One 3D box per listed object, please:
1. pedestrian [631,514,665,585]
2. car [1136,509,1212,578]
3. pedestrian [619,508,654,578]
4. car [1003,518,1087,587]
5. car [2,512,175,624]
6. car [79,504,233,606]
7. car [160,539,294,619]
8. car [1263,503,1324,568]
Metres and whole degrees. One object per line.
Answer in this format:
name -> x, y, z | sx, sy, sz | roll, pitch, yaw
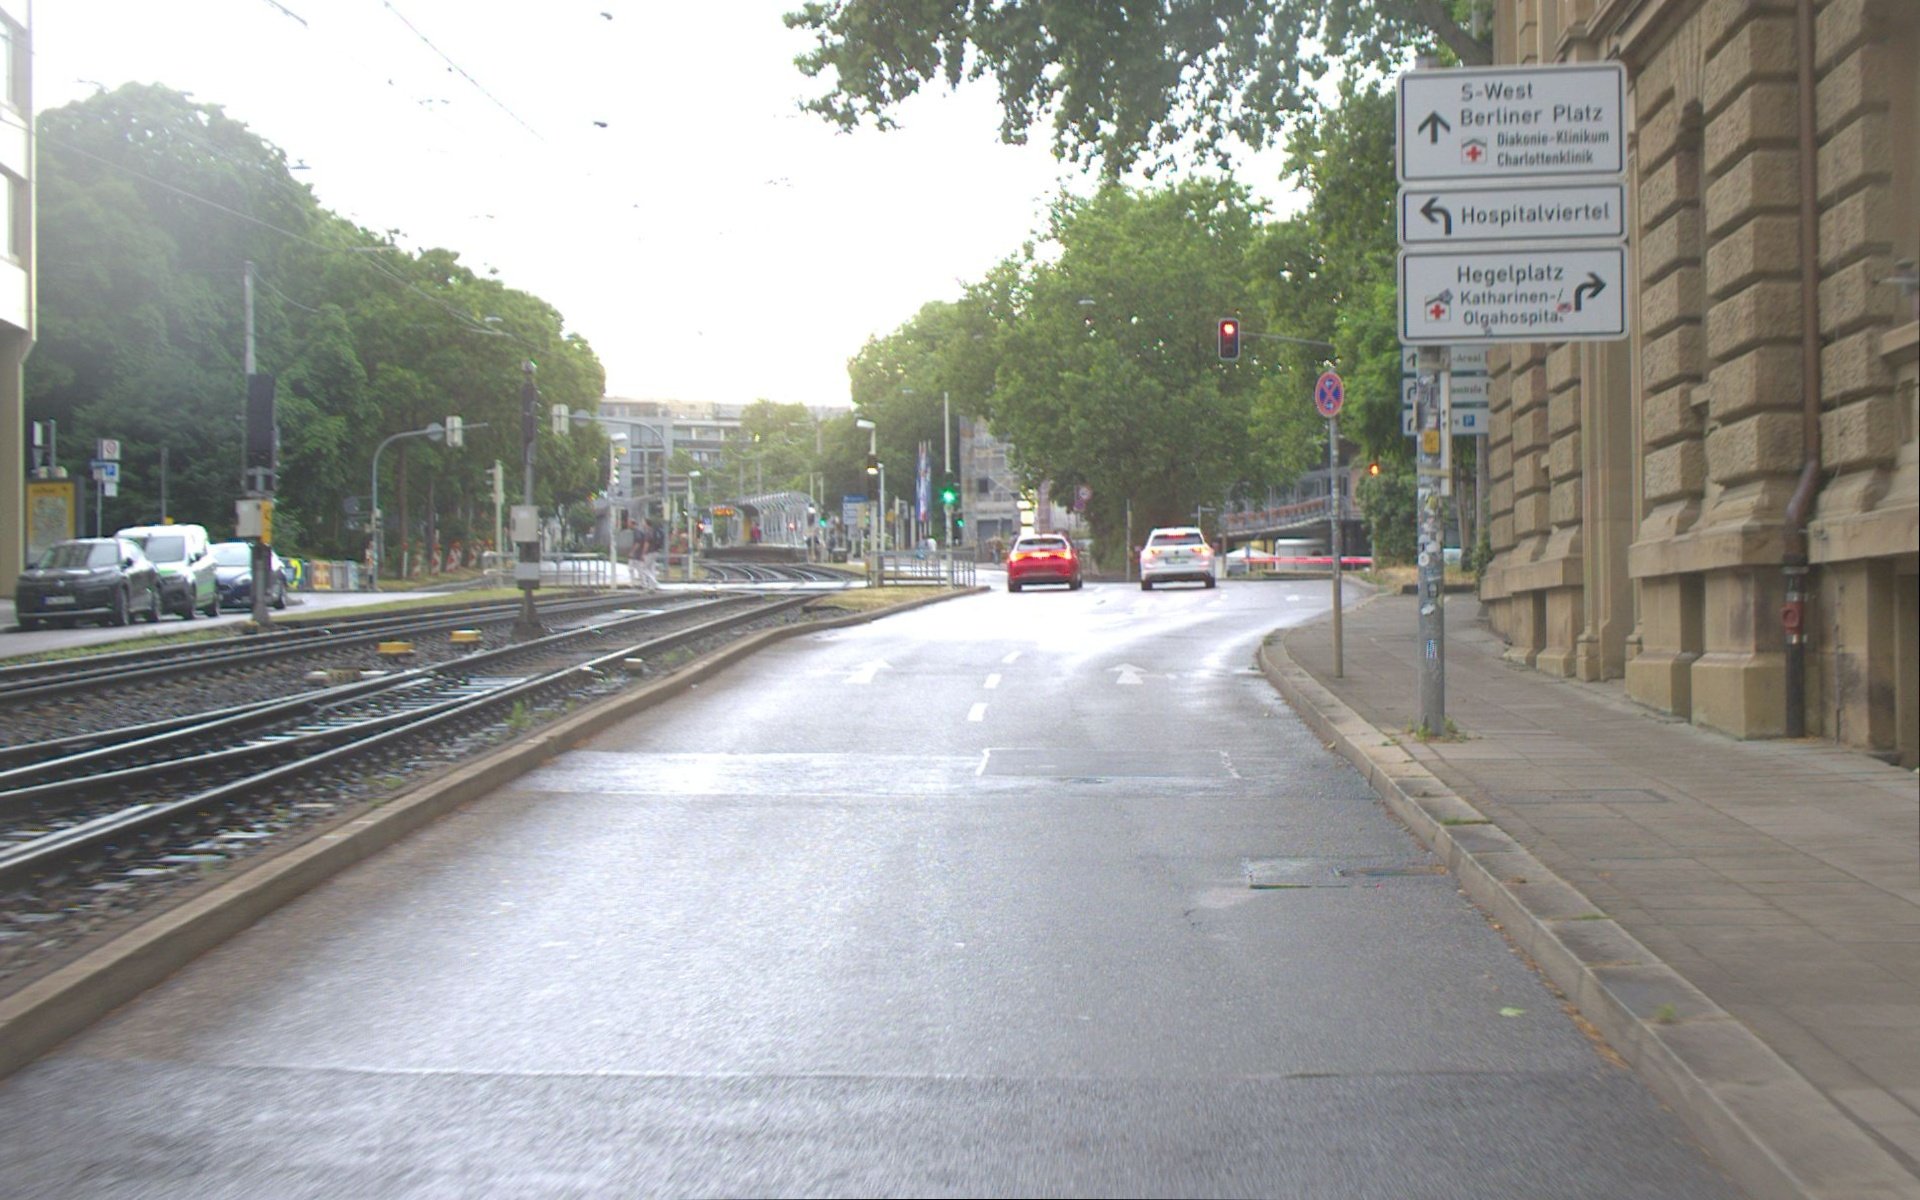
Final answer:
pedestrian -> -7.880, -1.274, 86.827 | 0.638, 1.781, 0.811 | 1, 0, -18
car -> 5.154, -1.362, 82.386 | 1.679, 1.571, 4.252 | -1, 1, 5
pedestrian -> -8.251, -1.450, 87.675 | 0.639, 1.781, 0.811 | 1, 0, -23
car -> 2.157, -1.177, 86.077 | 1.980, 1.634, 4.416 | 1, 0, 3
car -> -15.199, -0.546, 60.187 | 1.993, 1.844, 4.696 | 1, 0, -3
car -> -15.258, -0.834, 65.456 | 1.993, 1.844, 4.696 | 1, 0, -3
car -> -15.278, -0.423, 71.864 | 1.993, 1.577, 4.550 | 1, 0, -3
car -> 16.693, -3.203, 172.263 | 2.544, 3.123, 5.031 | 1, 0, 0
